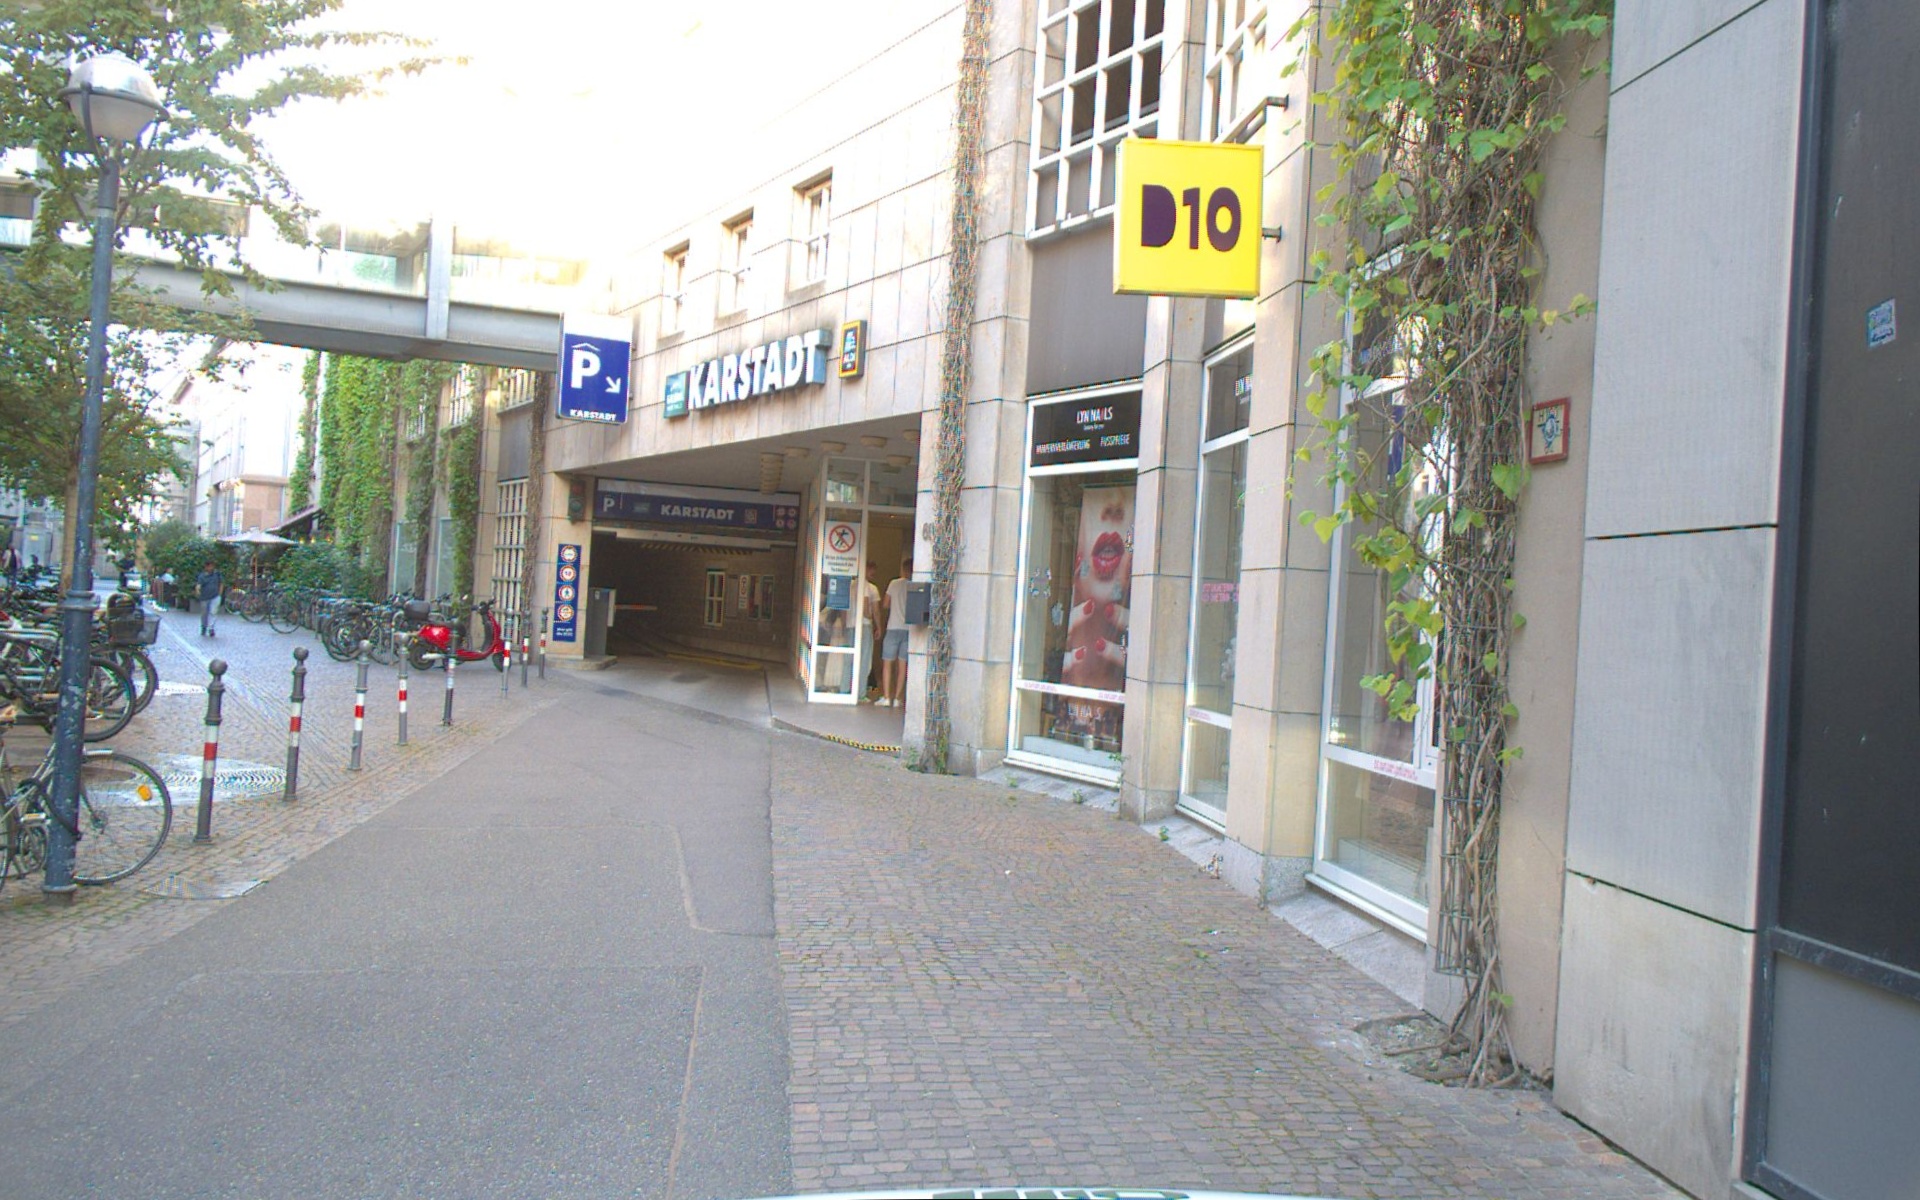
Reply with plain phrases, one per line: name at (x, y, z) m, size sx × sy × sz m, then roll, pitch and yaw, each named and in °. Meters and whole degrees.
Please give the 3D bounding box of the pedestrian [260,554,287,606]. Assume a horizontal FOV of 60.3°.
pedestrian at (-24.980, -0.716, 60.154) m, size 0.765 × 1.836 × 0.761 m, roll 3°, pitch 0°, yaw -27°

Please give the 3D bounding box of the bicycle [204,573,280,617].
bicycle at (-20.746, -0.145, 47.791) m, size 1.970 × 1.203 × 0.688 m, roll 1°, pitch 0°, yaw -27°

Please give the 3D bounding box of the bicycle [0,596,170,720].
bicycle at (-8.640, 0.550, 15.818) m, size 1.891 × 1.121 × 0.690 m, roll 3°, pitch 0°, yaw -28°

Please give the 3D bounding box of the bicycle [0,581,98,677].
bicycle at (-12.509, 0.366, 21.859) m, size 1.888 × 1.203 × 0.691 m, roll 3°, pitch 0°, yaw -25°

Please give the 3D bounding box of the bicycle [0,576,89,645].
bicycle at (-17.295, 0.180, 30.712) m, size 1.888 × 1.203 × 0.691 m, roll 3°, pitch 0°, yaw -25°

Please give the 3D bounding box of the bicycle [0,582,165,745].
bicycle at (-7.629, 0.509, 13.606) m, size 1.891 × 1.283 × 0.801 m, roll 3°, pitch 0°, yaw -28°

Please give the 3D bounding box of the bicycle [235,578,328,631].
bicycle at (-16.081, 0.105, 39.211) m, size 1.970 × 1.203 × 0.688 m, roll 1°, pitch 0°, yaw -27°

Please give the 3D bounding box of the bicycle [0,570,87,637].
bicycle at (-17.742, 0.058, 31.465) m, size 1.888 × 1.203 × 0.691 m, roll 3°, pitch 0°, yaw -25°

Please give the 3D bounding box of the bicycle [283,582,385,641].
bicycle at (-13.393, 0.247, 35.370) m, size 1.970 × 1.203 × 0.688 m, roll 1°, pitch 0°, yaw -27°

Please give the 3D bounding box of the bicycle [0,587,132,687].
bicycle at (-11.726, 0.464, 21.221) m, size 1.888 × 1.203 × 0.691 m, roll 3°, pitch 0°, yaw -25°

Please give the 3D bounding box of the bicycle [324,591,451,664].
bicycle at (-9.740, 0.476, 28.161) m, size 1.970 × 1.203 × 0.690 m, roll 1°, pitch 0°, yaw -27°

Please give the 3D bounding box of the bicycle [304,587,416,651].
bicycle at (-11.740, 0.374, 32.379) m, size 1.970 × 1.203 × 0.688 m, roll 1°, pitch 0°, yaw -27°

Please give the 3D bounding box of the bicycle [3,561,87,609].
bicycle at (-25.032, -0.409, 45.284) m, size 1.888 × 1.203 × 0.691 m, roll 3°, pitch 0°, yaw -25°

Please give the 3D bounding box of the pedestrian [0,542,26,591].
pedestrian at (-36.379, -1.288, 63.559) m, size 0.765 × 1.836 × 0.628 m, roll 3°, pitch 0°, yaw -27°

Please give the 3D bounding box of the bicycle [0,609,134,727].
bicycle at (-8.531, 0.602, 14.907) m, size 1.891 × 1.011 × 0.690 m, roll 3°, pitch 0°, yaw -28°

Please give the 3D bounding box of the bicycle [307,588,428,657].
bicycle at (-10.759, 0.404, 30.052) m, size 1.970 × 1.203 × 0.796 m, roll 1°, pitch 1°, yaw -27°

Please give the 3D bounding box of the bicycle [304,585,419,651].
bicycle at (-11.365, 0.350, 31.435) m, size 1.970 × 1.203 × 0.796 m, roll 1°, pitch 1°, yaw -27°

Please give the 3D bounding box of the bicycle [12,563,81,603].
bicycle at (-29.985, -0.566, 54.315) m, size 1.888 × 1.203 × 0.691 m, roll 3°, pitch 0°, yaw -25°

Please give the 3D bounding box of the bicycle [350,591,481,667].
bicycle at (-9.008, 0.479, 27.395) m, size 1.970 × 1.203 × 0.690 m, roll 1°, pitch 0°, yaw -27°

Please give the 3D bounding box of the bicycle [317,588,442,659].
bicycle at (-10.178, 0.415, 28.989) m, size 1.970 × 1.203 × 0.796 m, roll 1°, pitch 1°, yaw -27°

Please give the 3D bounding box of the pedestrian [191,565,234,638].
pedestrian at (-16.207, 0.032, 35.876) m, size 0.740 × 1.536 × 0.632 m, roll 3°, pitch 0°, yaw -29°

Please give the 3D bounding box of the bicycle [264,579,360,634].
bicycle at (-14.711, 0.157, 37.568) m, size 1.970 × 1.203 × 0.688 m, roll 1°, pitch 0°, yaw -27°

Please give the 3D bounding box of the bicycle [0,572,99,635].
bicycle at (-18.914, 0.079, 34.165) m, size 1.888 × 1.203 × 0.691 m, roll 3°, pitch 0°, yaw -25°

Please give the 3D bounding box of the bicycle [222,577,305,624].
bicycle at (-18.356, 0.013, 43.594) m, size 1.970 × 1.203 × 0.688 m, roll 1°, pitch 0°, yaw -27°

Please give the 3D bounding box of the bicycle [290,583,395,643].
bicycle at (-12.826, 0.267, 34.366) m, size 1.970 × 1.203 × 0.688 m, roll 1°, pitch 0°, yaw -27°

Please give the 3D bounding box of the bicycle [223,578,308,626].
bicycle at (-17.989, 0.045, 42.828) m, size 1.970 × 1.203 × 0.688 m, roll 1°, pitch 0°, yaw -27°

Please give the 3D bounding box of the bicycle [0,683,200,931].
bicycle at (-4.273, 0.924, 7.669) m, size 0.494 × 0.983 × 1.696 m, roll 2°, pitch 0°, yaw 8°

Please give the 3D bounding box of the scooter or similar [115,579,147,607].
scooter or similar at (-27.327, -0.240, 54.502) m, size 0.881 × 0.858 × 0.903 m, roll 3°, pitch 0°, yaw -29°

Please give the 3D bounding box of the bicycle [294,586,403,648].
bicycle at (-12.264, 0.348, 33.197) m, size 1.970 × 1.203 × 0.688 m, roll 1°, pitch 0°, yaw -27°

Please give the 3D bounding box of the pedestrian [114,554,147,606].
pedestrian at (-27.755, -0.672, 55.331) m, size 0.881 × 1.668 × 0.903 m, roll 3°, pitch 0°, yaw -29°

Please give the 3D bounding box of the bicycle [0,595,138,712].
bicycle at (-9.502, 0.532, 16.896) m, size 1.888 × 1.121 × 0.691 m, roll 3°, pitch 0°, yaw -25°

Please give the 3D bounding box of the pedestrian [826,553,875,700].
pedestrian at (-1.425, 0.342, 21.563) m, size 0.531 × 1.878 × 0.408 m, roll 3°, pitch 0°, yaw -1°

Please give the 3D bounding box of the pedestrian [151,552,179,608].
pedestrian at (-26.605, -0.680, 55.352) m, size 0.756 × 1.836 × 0.770 m, roll 3°, pitch 0°, yaw -29°

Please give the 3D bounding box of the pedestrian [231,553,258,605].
pedestrian at (-25.961, -0.770, 59.981) m, size 0.765 × 1.836 × 0.761 m, roll 3°, pitch 0°, yaw -27°

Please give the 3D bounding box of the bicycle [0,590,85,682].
bicycle at (-13.196, 0.478, 22.815) m, size 1.888 × 1.203 × 0.691 m, roll 3°, pitch 0°, yaw -25°

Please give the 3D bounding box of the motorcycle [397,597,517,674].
motorcycle at (-7.861, 0.556, 25.864) m, size 1.723 × 1.175 × 0.590 m, roll 1°, pitch 0°, yaw -25°

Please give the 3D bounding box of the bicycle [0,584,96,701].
bicycle at (-10.357, 0.431, 17.687) m, size 1.888 × 1.203 × 0.691 m, roll 3°, pitch 0°, yaw -25°

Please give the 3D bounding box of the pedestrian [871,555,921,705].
pedestrian at (-0.825, 0.379, 21.407) m, size 0.531 × 1.894 × 0.408 m, roll 3°, pitch 0°, yaw -1°

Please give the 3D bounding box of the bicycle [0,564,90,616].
bicycle at (-22.973, -0.239, 41.535) m, size 1.888 × 1.203 × 0.691 m, roll 3°, pitch 0°, yaw -25°
